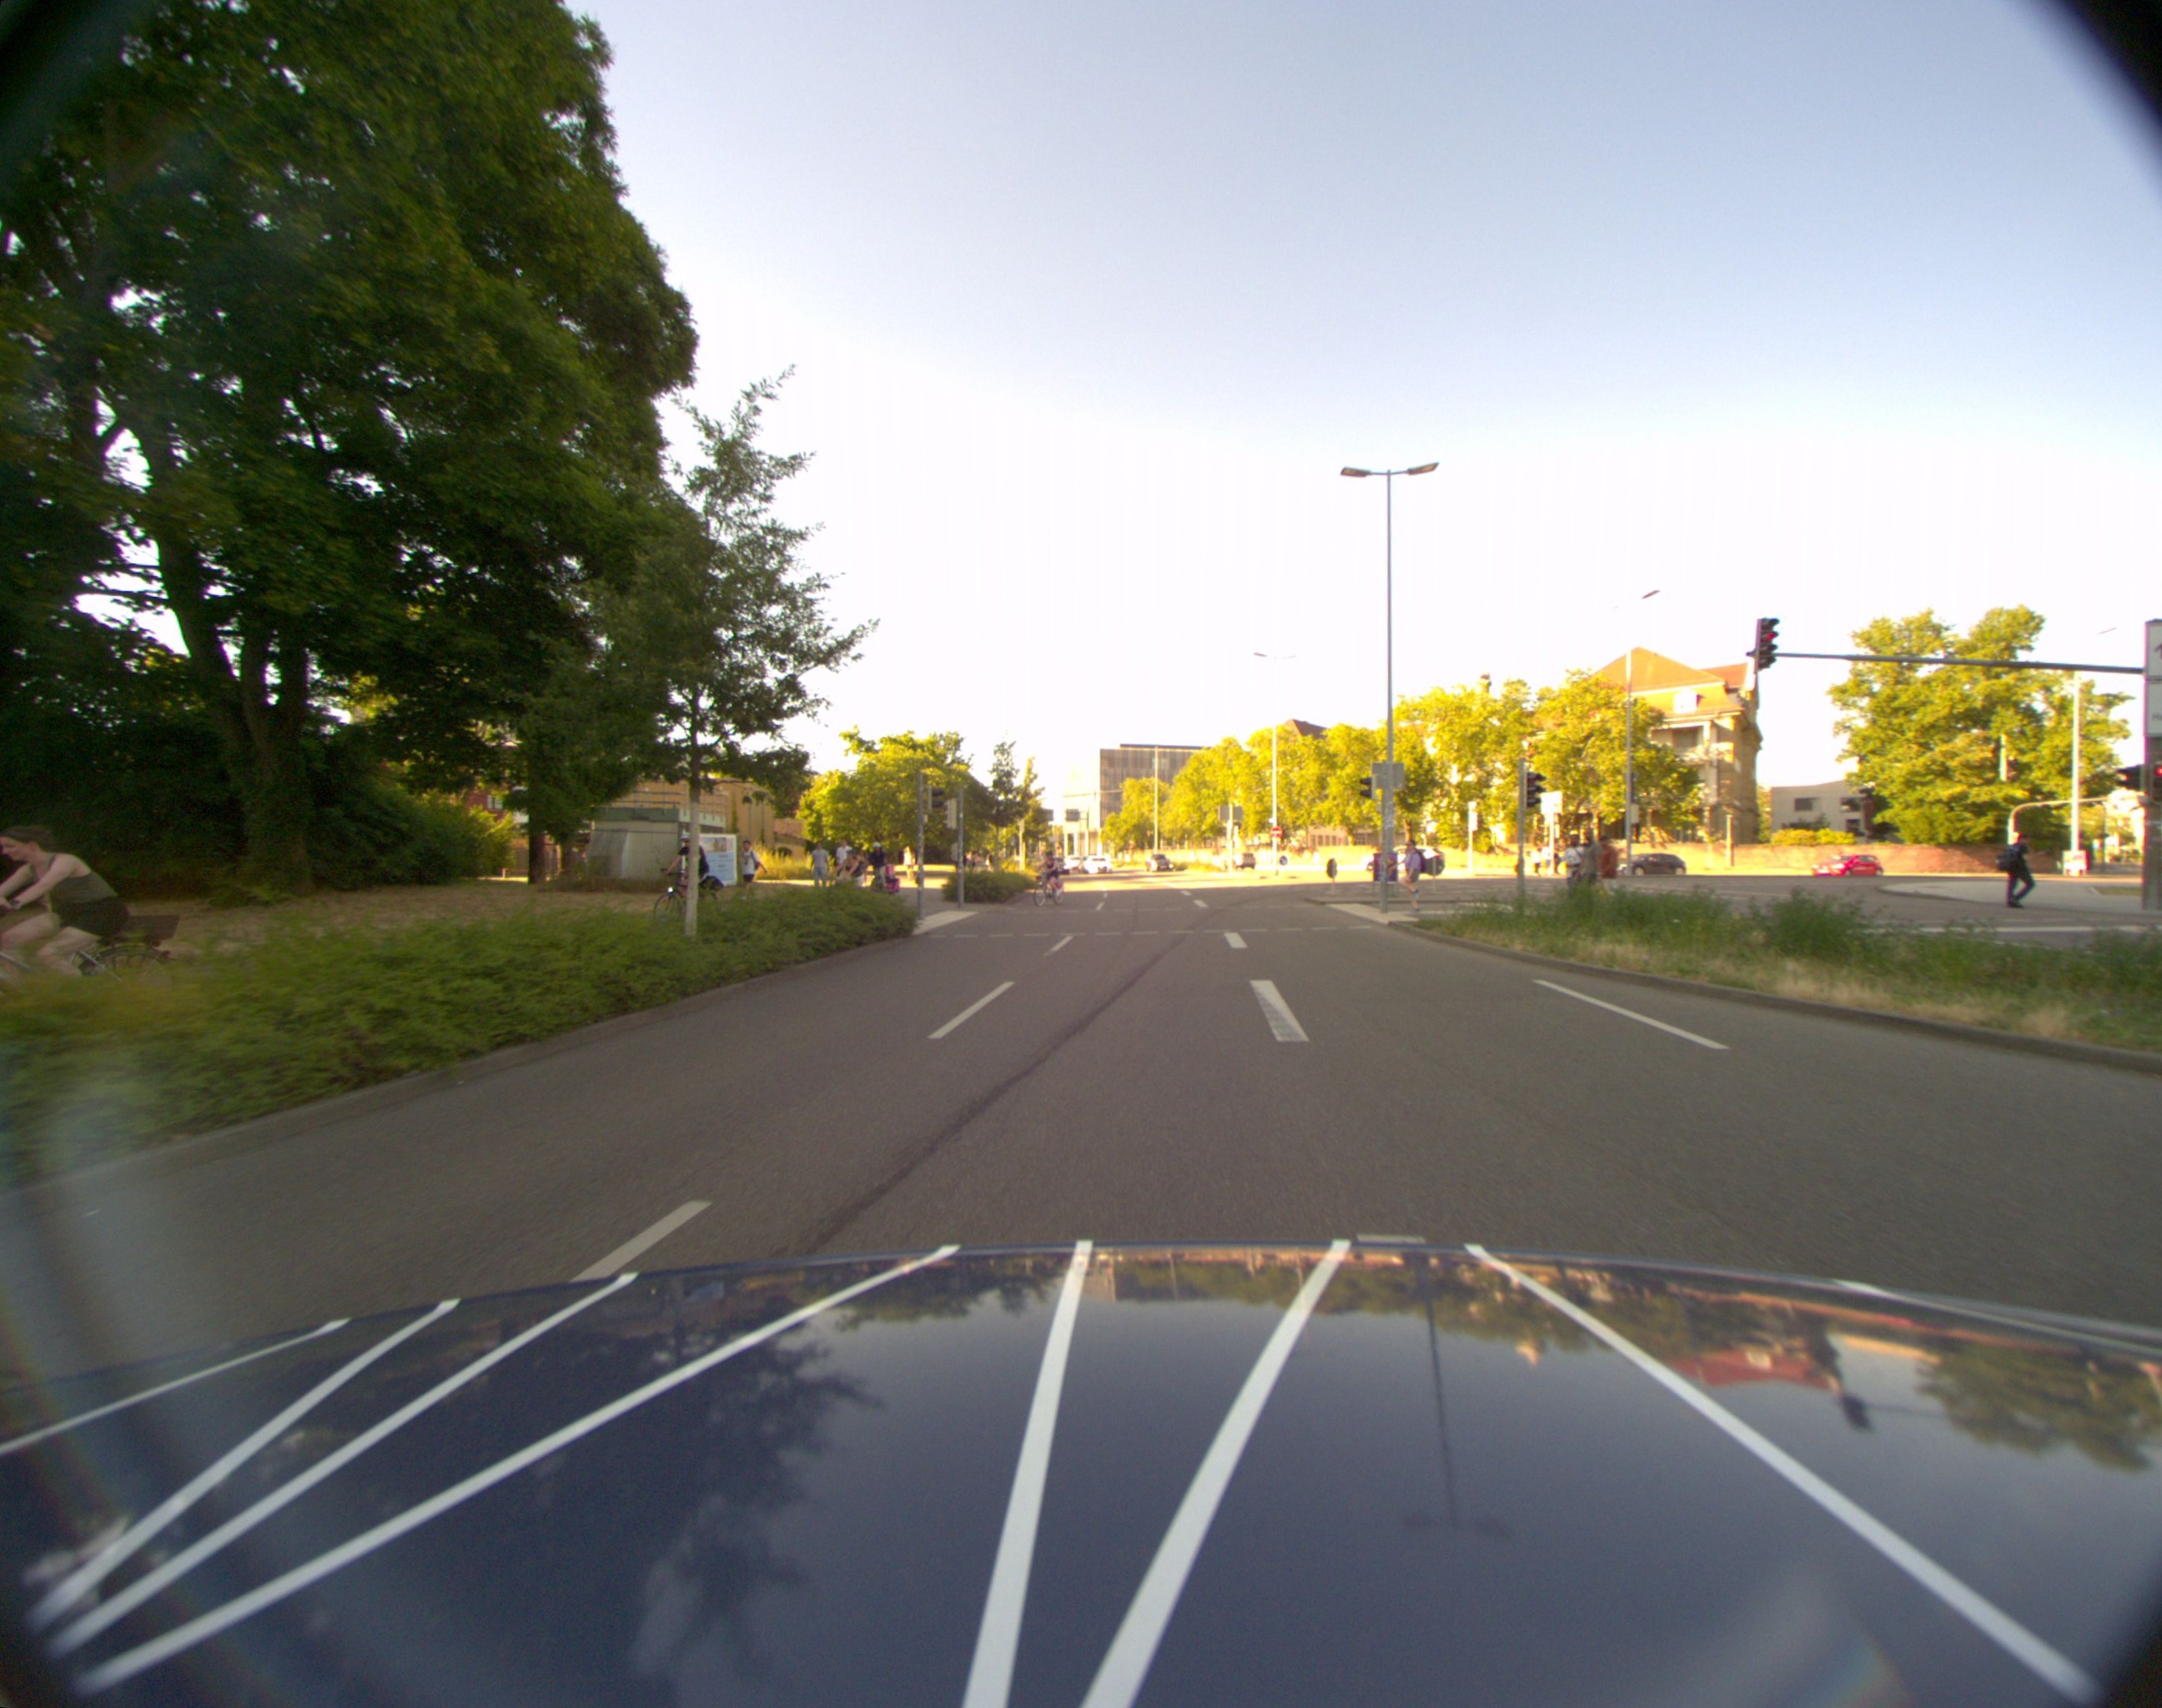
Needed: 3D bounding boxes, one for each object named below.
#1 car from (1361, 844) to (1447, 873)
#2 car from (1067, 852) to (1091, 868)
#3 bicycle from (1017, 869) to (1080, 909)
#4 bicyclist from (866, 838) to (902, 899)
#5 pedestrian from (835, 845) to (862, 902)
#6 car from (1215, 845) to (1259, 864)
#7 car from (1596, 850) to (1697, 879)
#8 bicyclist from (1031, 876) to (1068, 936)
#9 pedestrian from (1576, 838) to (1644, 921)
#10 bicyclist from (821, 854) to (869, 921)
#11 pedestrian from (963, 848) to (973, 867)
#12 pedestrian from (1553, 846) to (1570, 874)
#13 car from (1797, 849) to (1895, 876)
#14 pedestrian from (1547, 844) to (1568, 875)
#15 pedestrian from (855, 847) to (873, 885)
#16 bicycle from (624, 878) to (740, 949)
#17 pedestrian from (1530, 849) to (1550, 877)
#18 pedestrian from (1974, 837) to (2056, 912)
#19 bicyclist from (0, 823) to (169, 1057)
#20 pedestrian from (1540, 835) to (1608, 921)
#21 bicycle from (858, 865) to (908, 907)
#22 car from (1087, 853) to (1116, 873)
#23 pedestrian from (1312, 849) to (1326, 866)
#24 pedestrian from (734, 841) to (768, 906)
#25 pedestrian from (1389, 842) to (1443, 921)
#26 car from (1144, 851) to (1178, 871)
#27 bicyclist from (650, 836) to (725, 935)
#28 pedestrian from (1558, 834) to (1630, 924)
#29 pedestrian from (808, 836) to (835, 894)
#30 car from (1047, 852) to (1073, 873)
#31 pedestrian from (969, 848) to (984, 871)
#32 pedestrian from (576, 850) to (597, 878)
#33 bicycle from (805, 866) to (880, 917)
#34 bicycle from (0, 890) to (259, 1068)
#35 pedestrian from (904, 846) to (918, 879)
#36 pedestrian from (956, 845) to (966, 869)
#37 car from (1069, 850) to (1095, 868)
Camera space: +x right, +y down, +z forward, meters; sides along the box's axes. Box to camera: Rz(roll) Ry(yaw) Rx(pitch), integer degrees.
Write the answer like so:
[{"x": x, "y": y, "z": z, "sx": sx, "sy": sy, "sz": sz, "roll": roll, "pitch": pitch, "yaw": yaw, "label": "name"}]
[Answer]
[{"x": 19.609, "y": 0.316, "z": 46.150, "sx": 4.594, "sy": 1.673, "sz": 2.200, "roll": -1, "pitch": -2, "yaw": 28, "label": "car"}, {"x": -0.231, "y": 0.577, "z": 73.964, "sx": 1.925, "sy": 1.510, "sz": 4.015, "roll": 0, "pitch": 0, "yaw": -5, "label": "car"}, {"x": -0.978, "y": 1.052, "z": 23.509, "sx": 0.717, "sy": 1.115, "sz": 2.070, "roll": -1, "pitch": 1, "yaw": 39, "label": "bicycle"}, {"x": -6.051, "y": 0.438, "z": 23.365, "sx": 0.780, "sy": 1.823, "sz": 1.093, "roll": 0, "pitch": 1, "yaw": 2, "label": "bicyclist"}, {"x": -7.633, "y": 0.635, "z": 24.965, "sx": 0.575, "sy": 1.858, "sz": 0.624, "roll": 1, "pitch": 1, "yaw": 43, "label": "pedestrian"}, {"x": 14.036, "y": 0.032, "z": 68.676, "sx": 2.157, "sy": 1.611, "sz": 4.357, "roll": 0, "pitch": 0, "yaw": -14, "label": "car"}, {"x": 32.041, "y": 0.626, "z": 43.106, "sx": 4.609, "sy": 1.576, "sz": 2.193, "roll": 0, "pitch": -2, "yaw": -15, "label": "car"}, {"x": -0.965, "y": 1.596, "z": 23.508, "sx": 0.715, "sy": 1.777, "sz": 0.851, "roll": -1, "pitch": 1, "yaw": 39, "label": "bicyclist"}, {"x": 11.351, "y": 0.529, "z": 16.328, "sx": 0.926, "sy": 1.731, "sz": 0.788, "roll": 0, "pitch": 1, "yaw": 7, "label": "pedestrian"}, {"x": -5.511, "y": 0.778, "z": 17.766, "sx": 0.716, "sy": 1.539, "sz": 0.851, "roll": -1, "pitch": -1, "yaw": 17, "label": "bicyclist"}, {"x": -9.475, "y": 0.296, "z": 63.648, "sx": 0.763, "sy": 1.534, "sz": 0.846, "roll": 0, "pitch": 1, "yaw": -14, "label": "pedestrian"}, {"x": 30.107, "y": 0.359, "z": 47.592, "sx": 0.791, "sy": 1.644, "sz": 0.714, "roll": 2, "pitch": 5, "yaw": 33, "label": "pedestrian"}, {"x": 46.792, "y": 0.555, "z": 46.504, "sx": 4.609, "sy": 1.576, "sz": 2.193, "roll": 0, "pitch": -2, "yaw": -15, "label": "car"}, {"x": 29.437, "y": 0.322, "z": 46.928, "sx": 0.871, "sy": 1.884, "sz": 0.713, "roll": 1, "pitch": 4, "yaw": 19, "label": "pedestrian"}, {"x": -9.058, "y": 0.506, "z": 31.758, "sx": 0.622, "sy": 1.565, "sz": 0.639, "roll": 0, "pitch": 1, "yaw": -8, "label": "pedestrian"}, {"x": -7.527, "y": 1.079, "z": 14.494, "sx": 0.779, "sy": 1.149, "sz": 2.292, "roll": 0, "pitch": 0, "yaw": 7, "label": "bicycle"}, {"x": 28.258, "y": 0.520, "z": 46.778, "sx": 0.871, "sy": 1.665, "sz": 0.713, "roll": 1, "pitch": 4, "yaw": 19, "label": "pedestrian"}, {"x": 21.321, "y": 0.462, "z": 17.362, "sx": 0.898, "sy": 1.675, "sz": 0.748, "roll": 0, "pitch": 0, "yaw": 7, "label": "pedestrian"}, {"x": -8.144, "y": 0.609, "z": 5.902, "sx": 0.780, "sy": 1.668, "sz": 1.093, "roll": 3, "pitch": 1, "yaw": 3, "label": "bicyclist"}, {"x": 10.200, "y": 0.479, "z": 15.749, "sx": 0.926, "sy": 1.731, "sz": 0.757, "roll": 0, "pitch": 1, "yaw": 7, "label": "pedestrian"}, {"x": -6.045, "y": 0.946, "z": 23.384, "sx": 0.780, "sy": 1.149, "sz": 2.581, "roll": 0, "pitch": 0, "yaw": 2, "label": "bicycle"}, {"x": 1.568, "y": 0.687, "z": 60.181, "sx": 1.803, "sy": 1.510, "sz": 4.429, "roll": 0, "pitch": 0, "yaw": -5, "label": "car"}, {"x": 21.638, "y": 0.310, "z": 69.107, "sx": 0.974, "sy": 1.528, "sz": 0.922, "roll": 0, "pitch": 1, "yaw": -8, "label": "pedestrian"}, {"x": -8.680, "y": 0.513, "z": 19.990, "sx": 0.622, "sy": 1.689, "sz": 0.630, "roll": 0, "pitch": 1, "yaw": 0, "label": "pedestrian"}, {"x": 7.497, "y": 0.596, "z": 17.031, "sx": 0.926, "sy": 1.731, "sz": 0.757, "roll": 0, "pitch": 1, "yaw": 7, "label": "pedestrian"}, {"x": 6.318, "y": 0.510, "z": 60.345, "sx": 1.925, "sy": 1.510, "sz": 4.015, "roll": 0, "pitch": 0, "yaw": -5, "label": "car"}, {"x": -7.513, "y": 0.583, "z": 14.562, "sx": 0.779, "sy": 1.820, "sz": 1.094, "roll": 0, "pitch": 1, "yaw": 7, "label": "bicyclist"}, {"x": 10.071, "y": 0.473, "z": 14.940, "sx": 0.926, "sy": 1.731, "sz": 0.757, "roll": 0, "pitch": 1, "yaw": 7, "label": "pedestrian"}, {"x": -8.451, "y": 0.337, "z": 24.773, "sx": 0.575, "sy": 1.858, "sz": 0.624, "roll": 1, "pitch": 1, "yaw": 43, "label": "pedestrian"}, {"x": -1.634, "y": 0.627, "z": 58.356, "sx": 1.803, "sy": 1.510, "sz": 3.998, "roll": 0, "pitch": 0, "yaw": -5, "label": "car"}, {"x": -7.979, "y": 0.435, "z": 57.931, "sx": 1.019, "sy": 1.739, "sz": 0.848, "roll": 0, "pitch": 1, "yaw": -14, "label": "pedestrian"}, {"x": -35.241, "y": 0.720, "z": 54.124, "sx": 0.900, "sy": 2.002, "sz": 0.868, "roll": 0, "pitch": 1, "yaw": -2, "label": "pedestrian"}, {"x": -5.527, "y": 0.850, "z": 17.702, "sx": 0.718, "sy": 1.114, "sz": 1.872, "roll": -1, "pitch": -2, "yaw": 18, "label": "bicycle"}, {"x": -8.149, "y": 0.951, "z": 5.982, "sx": 0.780, "sy": 1.149, "sz": 2.291, "roll": 3, "pitch": 1, "yaw": 3, "label": "bicycle"}, {"x": -8.849, "y": 0.426, "z": 39.592, "sx": 0.676, "sy": 1.694, "sz": 0.876, "roll": 0, "pitch": 1, "yaw": -13, "label": "pedestrian"}, {"x": -8.591, "y": 0.232, "z": 54.406, "sx": 0.712, "sy": 1.703, "sz": 0.733, "roll": 0, "pitch": 1, "yaw": -8, "label": "pedestrian"}, {"x": 0.081, "y": 0.431, "z": 66.909, "sx": 1.925, "sy": 1.510, "sz": 4.015, "roll": 0, "pitch": 0, "yaw": -5, "label": "car"}]
